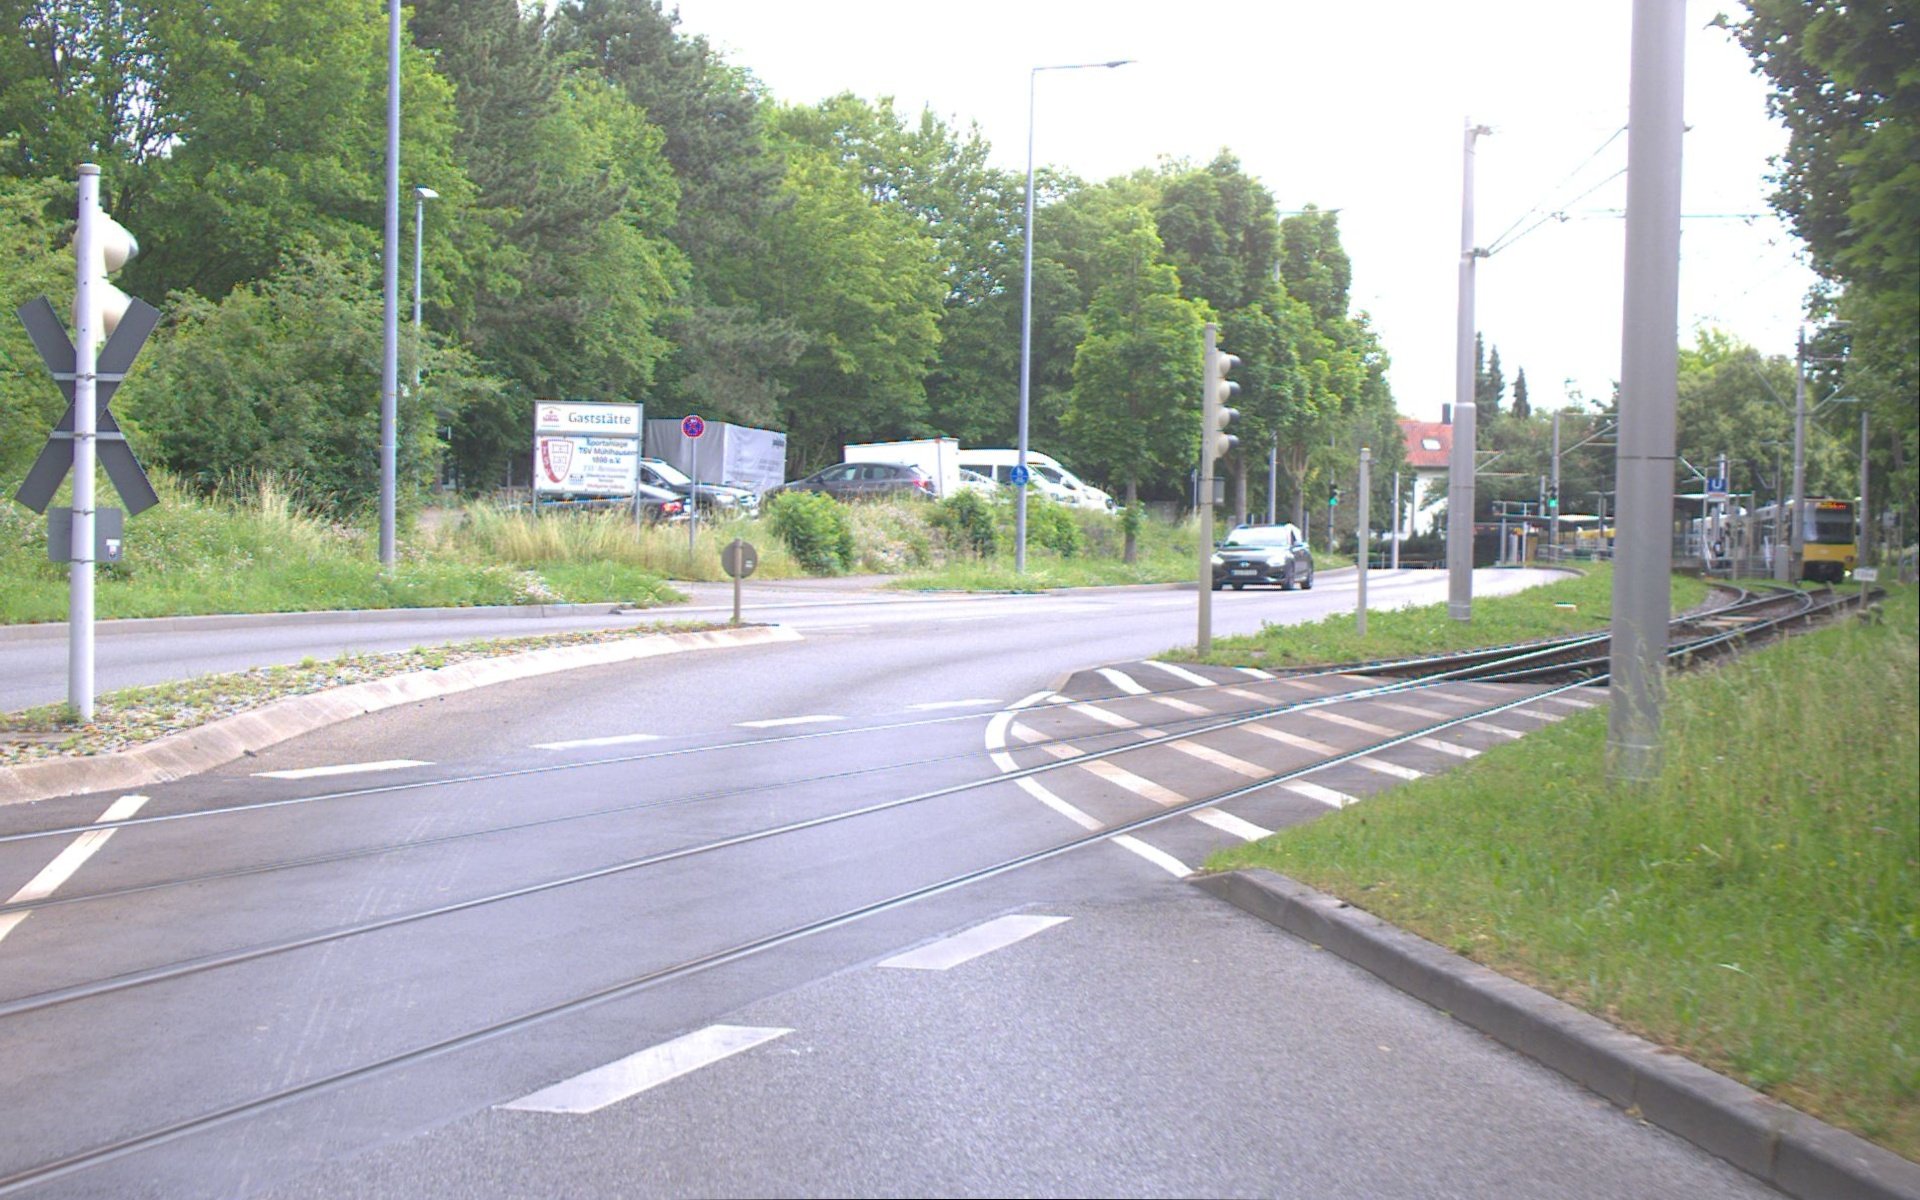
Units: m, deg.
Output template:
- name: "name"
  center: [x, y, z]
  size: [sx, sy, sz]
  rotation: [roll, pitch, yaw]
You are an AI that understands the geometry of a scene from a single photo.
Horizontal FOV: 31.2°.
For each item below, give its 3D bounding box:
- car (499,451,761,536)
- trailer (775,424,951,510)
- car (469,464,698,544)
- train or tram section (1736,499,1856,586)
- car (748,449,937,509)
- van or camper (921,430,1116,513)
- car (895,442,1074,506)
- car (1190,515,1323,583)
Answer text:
- name: "car"
  center: [-6.843, -2.219, 71.507]
  size: [4.929, 1.579, 2.206]
  rotation: [2, 2, 13]
- name: "trailer"
  center: [-2.438, -3.347, 86.512]
  size: [3.990, 2.006, 1.906]
  rotation: [3, 2, 16]
- name: "car"
  center: [-7.264, -1.862, 66.469]
  size: [3.956, 1.392, 1.999]
  rotation: [2, 2, 11]
- name: "train or tram section"
  center: [36.897, -2.721, 153.045]
  size: [3.009, 3.299, 34.697]
  rotation: [3, 2, 10]
- name: "car"
  center: [-2.835, -2.931, 83.482]
  size: [4.313, 1.443, 1.835]
  rotation: [0, 2, 10]
- name: "van or camper"
  center: [1.717, -3.742, 100.333]
  size: [5.336, 2.195, 1.999]
  rotation: [3, 2, 13]
- name: "car"
  center: [0.713, -3.579, 97.960]
  size: [4.647, 1.650, 1.998]
  rotation: [3, 2, 21]
- name: "car"
  center: [6.582, -1.142, 75.920]
  size: [1.995, 1.433, 4.422]
  rotation: [1, 2, 18]
